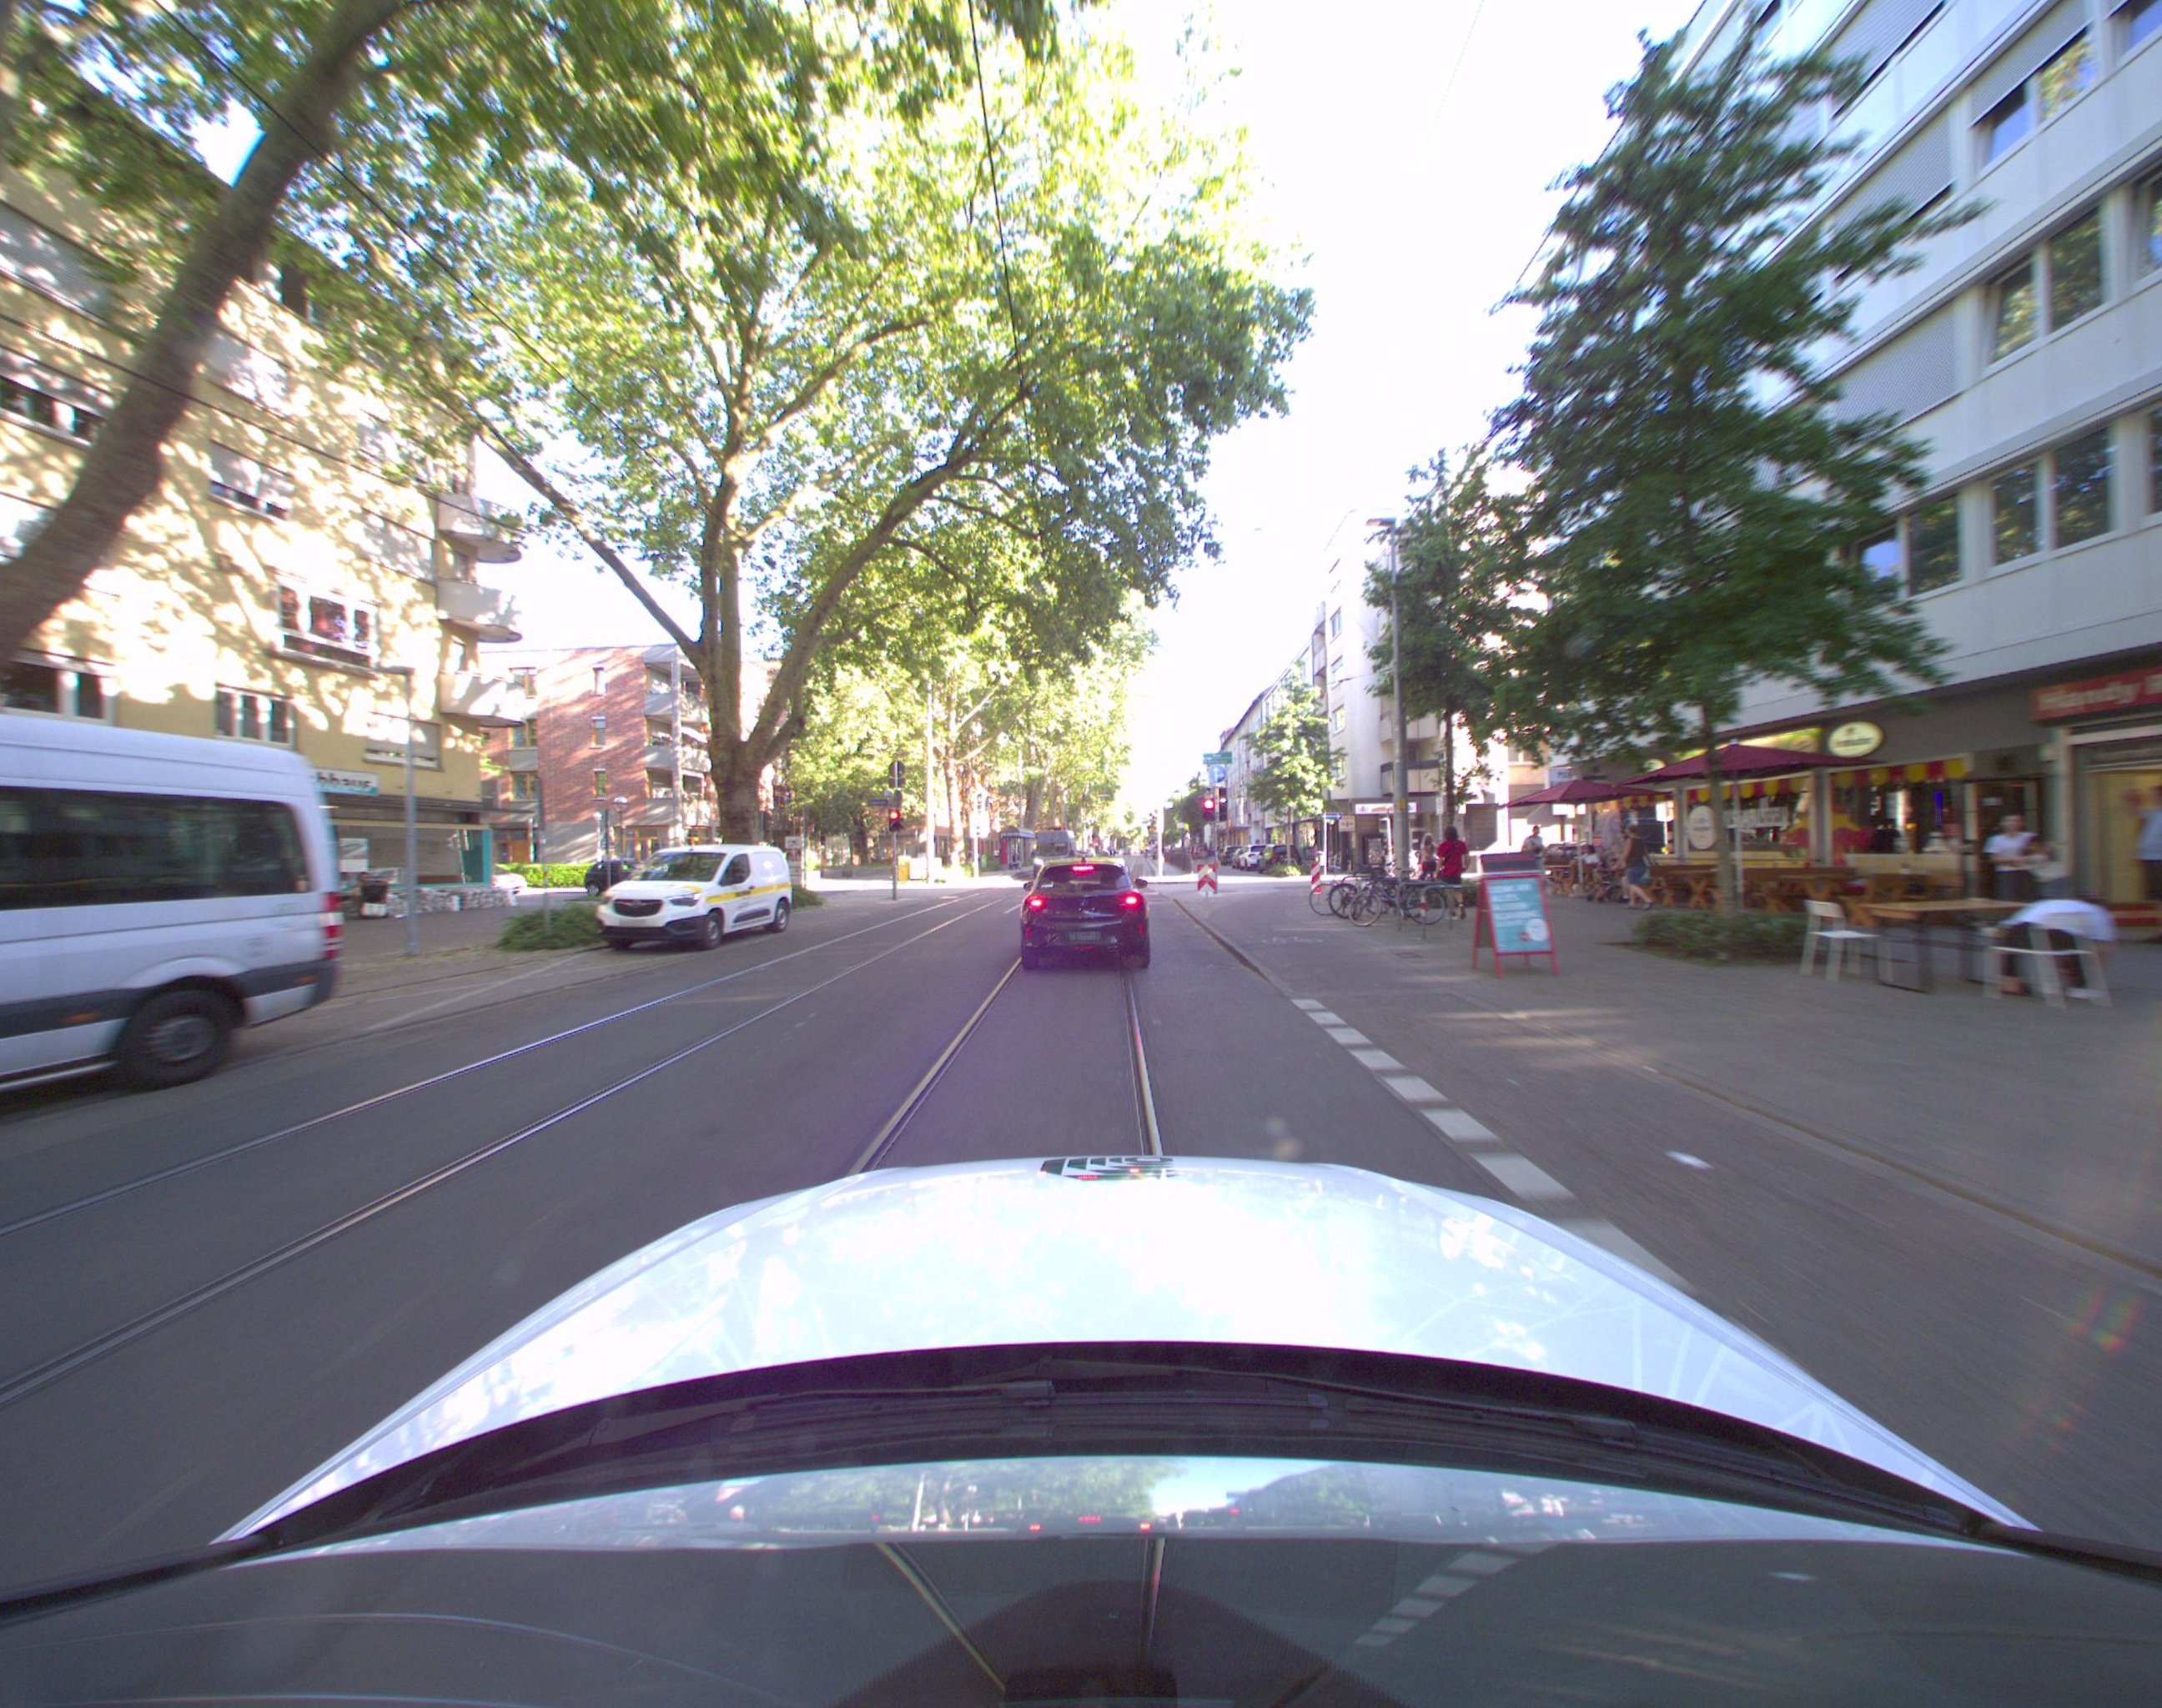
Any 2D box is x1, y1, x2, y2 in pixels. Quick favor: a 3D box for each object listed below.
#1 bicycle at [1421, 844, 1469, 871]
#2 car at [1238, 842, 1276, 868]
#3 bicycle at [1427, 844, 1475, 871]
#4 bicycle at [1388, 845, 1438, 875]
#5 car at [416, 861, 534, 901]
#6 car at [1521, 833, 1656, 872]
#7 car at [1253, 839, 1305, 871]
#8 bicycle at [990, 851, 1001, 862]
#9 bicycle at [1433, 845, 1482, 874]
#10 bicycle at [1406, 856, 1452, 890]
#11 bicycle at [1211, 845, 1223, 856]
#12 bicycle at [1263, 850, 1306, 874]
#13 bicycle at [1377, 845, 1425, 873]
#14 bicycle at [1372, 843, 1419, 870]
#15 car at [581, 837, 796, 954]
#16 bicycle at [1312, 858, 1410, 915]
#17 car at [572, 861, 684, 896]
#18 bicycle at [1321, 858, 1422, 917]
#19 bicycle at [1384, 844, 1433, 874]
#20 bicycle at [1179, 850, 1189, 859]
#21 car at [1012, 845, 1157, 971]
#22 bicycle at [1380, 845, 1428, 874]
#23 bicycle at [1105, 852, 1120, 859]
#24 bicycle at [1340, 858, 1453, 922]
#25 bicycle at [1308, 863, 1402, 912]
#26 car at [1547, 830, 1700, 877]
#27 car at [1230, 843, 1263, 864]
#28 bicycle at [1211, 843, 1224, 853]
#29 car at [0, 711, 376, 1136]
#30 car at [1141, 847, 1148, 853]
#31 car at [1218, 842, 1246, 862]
[{"bbox_3d":[16.374,0.163,36.667,1.908,1.208,0.511,-1,-1,0],"label":"bicycle"},{"bbox_3d":[11.234,0.052,52.167,1.791,1.606,4.420,-1,0,4],"label":"car"},{"bbox_3d":[16.362,0.157,36.003,1.908,1.207,0.511,0,0,0],"label":"bicycle"},{"bbox_3d":[14.208,0.249,34.829,1.908,1.207,0.511,-2,1,0],"label":"bicycle"},{"bbox_3d":[-27.840,1.224,37.514,3.971,1.662,1.962,-1,0,2],"label":"car"},{"bbox_3d":[21.623,-0.092,34.821,4.564,1.477,1.874,-2,2,4],"label":"car"},{"bbox_3d":[10.824,0.060,44.845,1.984,1.615,4.450,-3,0,4],"label":"car"},{"bbox_3d":[-8.835,0.239,83.788,0.779,1.111,2.597,-1,0,1],"label":"bicycle"},{"bbox_3d":[16.361,0.239,35.391,1.908,1.207,0.511,-1,1,0],"label":"bicycle"},{"bbox_3d":[10.208,0.535,23.953,0.673,0.963,2.025,-1,0,6],"label":"bicycle"},{"bbox_3d":[14.737,-0.369,88.395,0.620,1.136,2.433,0,0,-7],"label":"bicycle"},{"bbox_3d":[10.440,0.411,41.793,2.112,1.187,0.683,-1,0,12],"label":"bicycle"},{"bbox_3d":[14.321,0.217,36.434,1.908,1.207,0.511,-2,0,0],"label":"bicycle"},{"bbox_3d":[14.299,0.117,37.035,1.908,1.207,0.511,-1,0,0],"label":"bicycle"},{"bbox_3d":[-7.012,0.669,15.125,1.756,1.850,4.320,-1,0,2],"label":"car"},{"bbox_3d":[5.588,0.643,16.286,1.812,1.100,0.497,-1,0,-5],"label":"bicycle"},{"bbox_3d":[-20.474,1.075,36.916,3.971,1.508,2.001,-1,0,2],"label":"car"},{"bbox_3d":[5.604,0.631,15.743,1.812,1.100,0.480,-1,0,-5],"label":"bicycle"},{"bbox_3d":[14.223,0.223,35.346,1.908,1.207,0.511,-2,1,0],"label":"bicycle"},{"bbox_3d":[12.779,0.097,100.971,0.859,1.136,2.394,-1,0,-2],"label":"bicycle"},{"bbox_3d":[0.108,0.678,11.943,1.753,1.508,3.685,-2,0,2],"label":"car"},{"bbox_3d":[14.237,0.221,35.881,1.908,1.207,0.511,-2,1,0],"label":"bicycle"},{"bbox_3d":[5.323,0.209,139.077,2.473,1.240,0.957,-1,0,-2],"label":"bicycle"},{"bbox_3d":[5.678,0.641,14.710,1.808,1.100,0.526,-2,0,2],"label":"bicycle"},{"bbox_3d":[5.740,0.689,17.108,1.809,0.994,0.481,-1,0,1],"label":"bicycle"},{"bbox_3d":[19.488,-0.003,29.393,4.238,1.592,1.965,-1,-1,-3],"label":"car"},{"bbox_3d":[11.693,-0.011,57.711,1.736,1.440,4.252,-1,0,4],"label":"car"},{"bbox_3d":[15.779,-0.645,94.181,0.610,1.136,2.914,0,0,-7],"label":"bicycle"},{"bbox_3d":[-7.674,0.431,4.383,2.097,2.577,6.034,-1,0,6],"label":"car"},{"bbox_3d":[17.047,-1.070,218.126,1.738,1.544,4.002,-1,0,2],"label":"car"},{"bbox_3d":[12.583,-0.131,68.142,1.849,1.615,4.403,-1,0,4],"label":"car"}]
